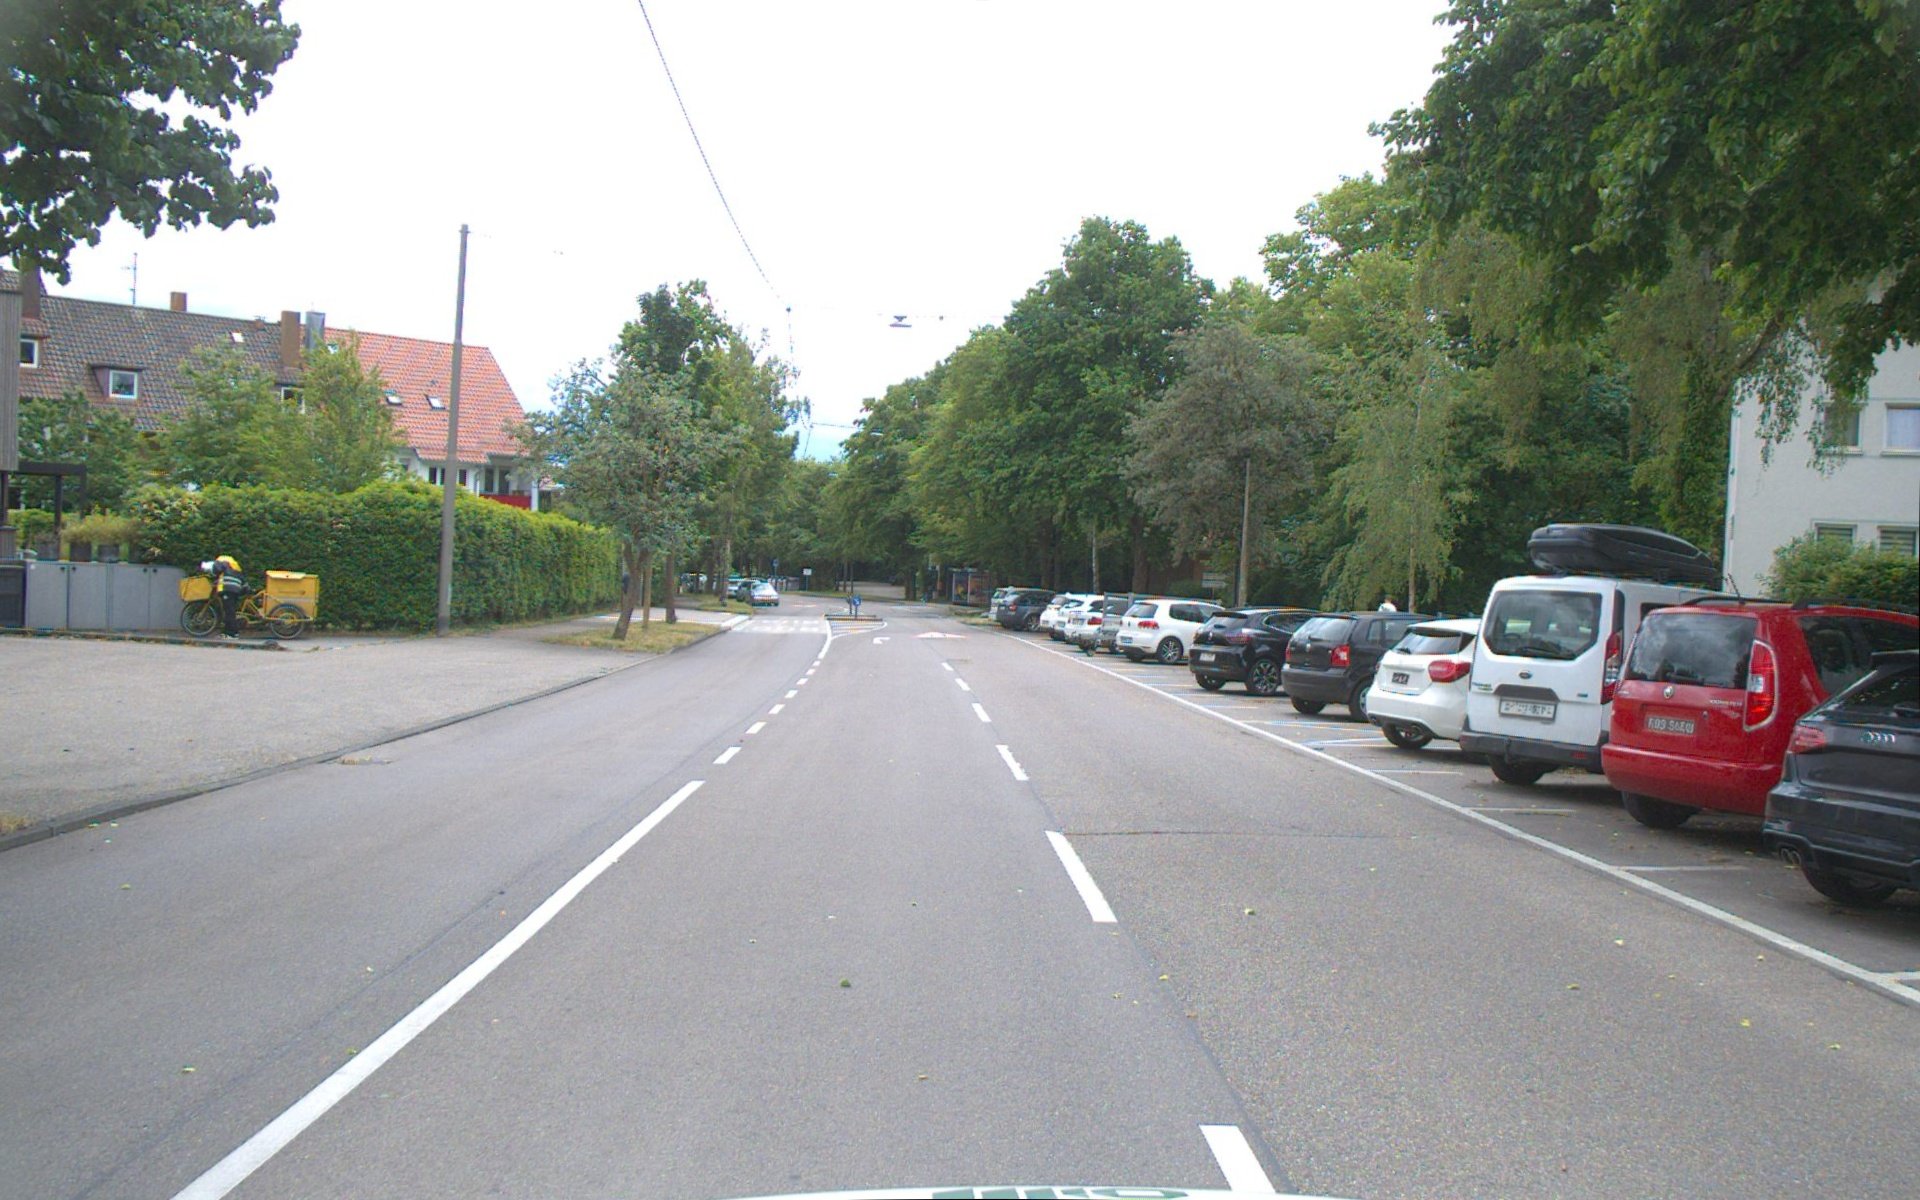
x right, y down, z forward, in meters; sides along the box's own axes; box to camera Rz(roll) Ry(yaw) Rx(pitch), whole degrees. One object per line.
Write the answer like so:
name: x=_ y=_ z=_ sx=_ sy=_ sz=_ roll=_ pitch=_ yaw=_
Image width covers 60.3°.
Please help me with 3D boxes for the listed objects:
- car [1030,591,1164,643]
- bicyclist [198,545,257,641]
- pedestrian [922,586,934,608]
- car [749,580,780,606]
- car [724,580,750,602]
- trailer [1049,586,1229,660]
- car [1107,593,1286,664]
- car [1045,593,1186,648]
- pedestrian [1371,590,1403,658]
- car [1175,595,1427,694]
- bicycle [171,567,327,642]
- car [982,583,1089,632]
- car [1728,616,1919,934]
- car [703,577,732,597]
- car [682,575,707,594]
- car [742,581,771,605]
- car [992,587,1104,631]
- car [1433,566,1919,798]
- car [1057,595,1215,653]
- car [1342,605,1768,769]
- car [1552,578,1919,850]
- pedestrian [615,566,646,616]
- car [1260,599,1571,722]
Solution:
car: x=4.347 y=0.529 z=52.434 sx=3.828 sy=1.454 sz=1.733 roll=3 pitch=0 yaw=-21
bicyclist: x=-13.590 y=-0.141 z=30.702 sx=0.697 sy=1.727 sz=0.847 roll=3 pitch=1 yaw=-4
pedestrian: x=-2.331 y=-0.217 z=119.942 sx=0.725 sy=1.597 sz=0.652 roll=2 pitch=0 yaw=10
car: x=-12.322 y=-0.447 z=104.060 sx=1.832 sy=1.496 sz=3.993 roll=2 pitch=0 yaw=-8
car: x=-16.346 y=-0.696 z=121.365 sx=1.832 sy=1.496 sz=3.993 roll=2 pitch=0 yaw=-8
trailer: x=4.474 y=0.565 z=41.386 sx=4.093 sy=1.600 sz=1.702 roll=3 pitch=0 yaw=-20
car: x=5.607 y=0.675 z=39.185 sx=3.831 sy=1.474 sz=1.732 roll=3 pitch=0 yaw=-23
car: x=4.673 y=0.618 z=49.865 sx=3.828 sy=1.454 sz=1.733 roll=3 pitch=0 yaw=-21
pedestrian: x=10.854 y=0.595 z=42.039 sx=0.636 sy=1.700 sz=0.744 roll=2 pitch=0 yaw=5
car: x=5.784 y=0.748 z=28.098 sx=3.834 sy=1.474 sz=1.830 roll=3 pitch=0 yaw=-25
bicycle: x=-13.323 y=0.086 z=31.079 sx=2.605 sy=1.288 sz=0.842 roll=2 pitch=1 yaw=-21
car: x=2.973 y=0.294 z=65.191 sx=3.828 sy=1.697 sz=1.733 roll=3 pitch=0 yaw=-21
car: x=6.252 y=0.929 z=8.599 sx=3.967 sy=1.430 sz=1.747 roll=3 pitch=0 yaw=-19
car: x=-19.432 y=-1.044 z=132.395 sx=1.835 sy=1.496 sz=3.986 roll=2 pitch=1 yaw=-14
car: x=-22.757 y=-1.345 z=141.697 sx=1.835 sy=1.496 sz=3.986 roll=2 pitch=1 yaw=-14
car: x=-13.506 y=-0.450 z=109.608 sx=1.832 sy=1.496 sz=3.993 roll=2 pitch=0 yaw=-8
car: x=3.315 y=0.337 z=62.411 sx=3.828 sy=1.454 sz=1.733 roll=3 pitch=0 yaw=-21
car: x=6.373 y=0.725 z=14.673 sx=4.039 sy=1.785 sz=1.771 roll=3 pitch=0 yaw=-28
car: x=4.681 y=0.633 z=44.079 sx=3.835 sy=1.332 sz=1.730 roll=3 pitch=0 yaw=-26
car: x=6.348 y=0.917 z=17.769 sx=3.903 sy=1.474 sz=1.910 roll=3 pitch=0 yaw=-16
car: x=6.495 y=0.795 z=11.736 sx=3.933 sy=1.648 sz=1.876 roll=3 pitch=0 yaw=-17
pedestrian: x=-11.881 y=-0.329 z=59.662 sx=0.955 sy=1.760 sz=0.848 roll=2 pitch=0 yaw=-5
car: x=6.350 y=0.837 z=23.109 sx=3.828 sy=1.474 sz=1.833 roll=3 pitch=0 yaw=-21
